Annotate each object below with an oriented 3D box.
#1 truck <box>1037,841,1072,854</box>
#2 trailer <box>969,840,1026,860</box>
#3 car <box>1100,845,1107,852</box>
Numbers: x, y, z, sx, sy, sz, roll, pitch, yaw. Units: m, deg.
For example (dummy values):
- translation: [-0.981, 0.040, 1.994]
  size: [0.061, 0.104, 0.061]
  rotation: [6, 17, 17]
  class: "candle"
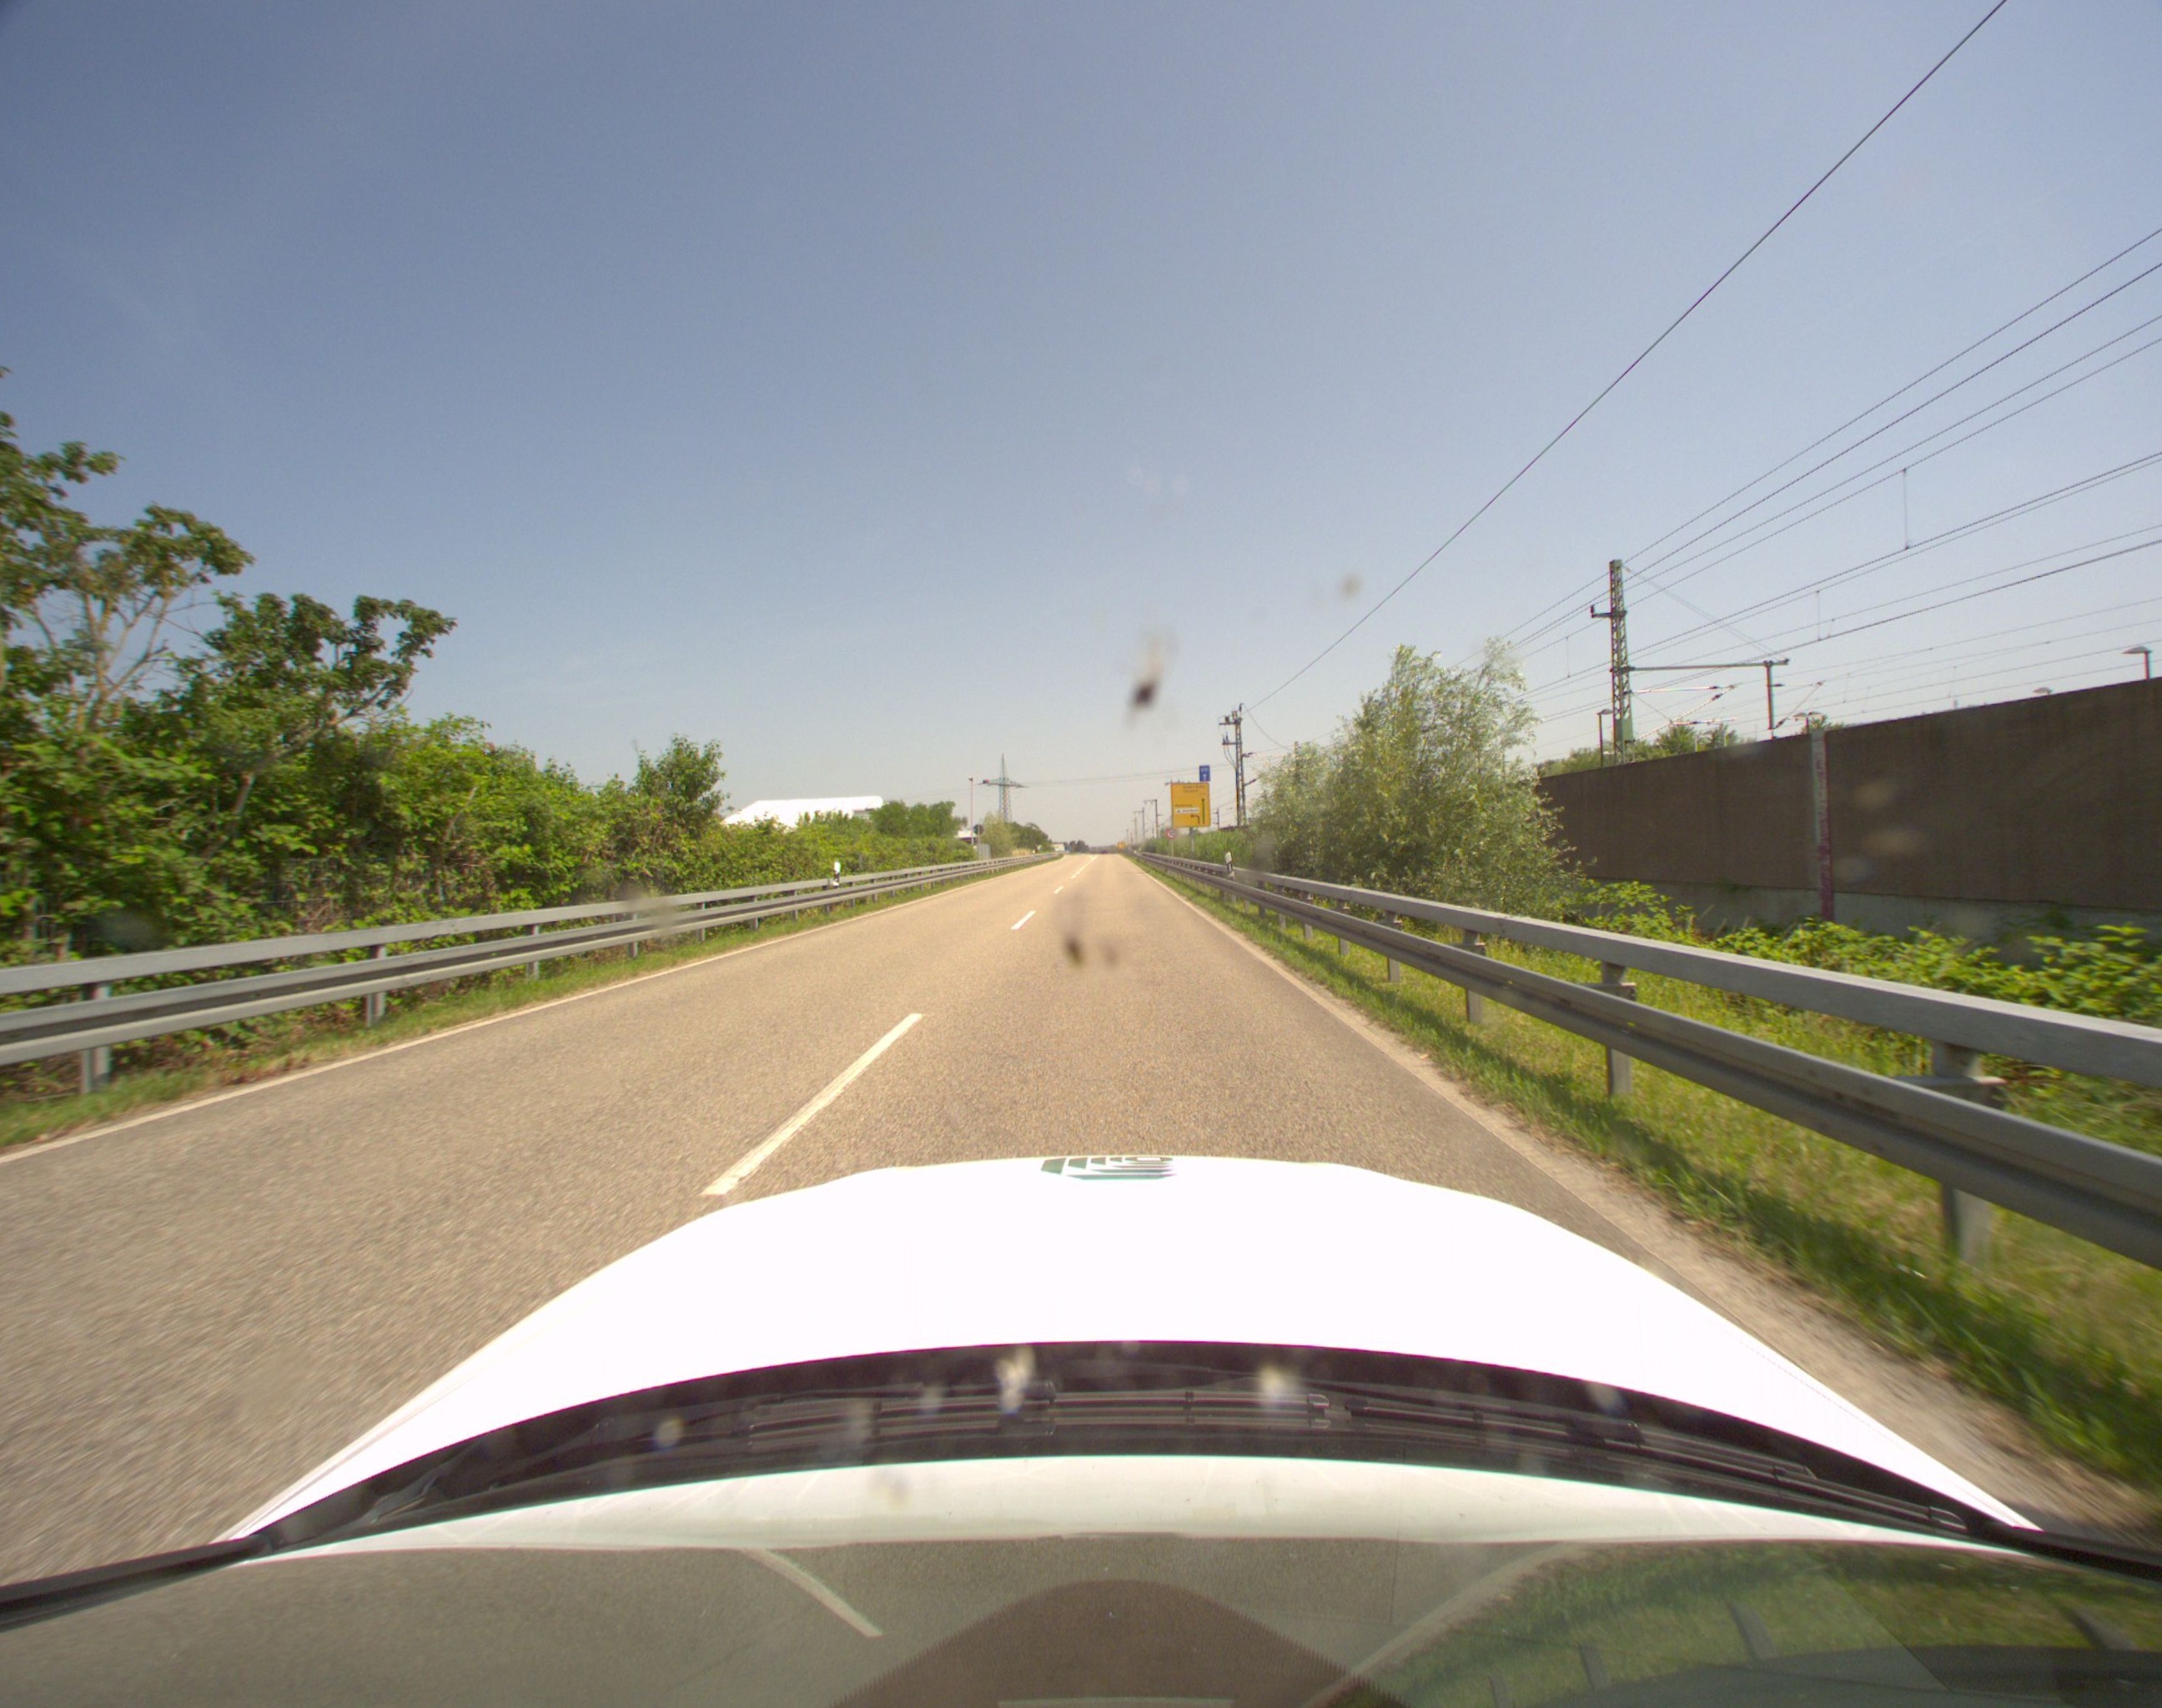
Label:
- translation: [-8.005, -2.059, 246.432]
  size: [10.384, 3.631, 2.843]
  rotation: [-1, 1, -2]
  class: "truck"
- translation: [-8.363, -0.396, 81.633]
  size: [5.368, 1.848, 2.545]
  rotation: [-2, 1, 1]
  class: "trailer"
- translation: [6.916, -1.644, 253.591]
  size: [1.988, 2.013, 3.997]
  rotation: [-2, 1, -2]
  class: "car"
